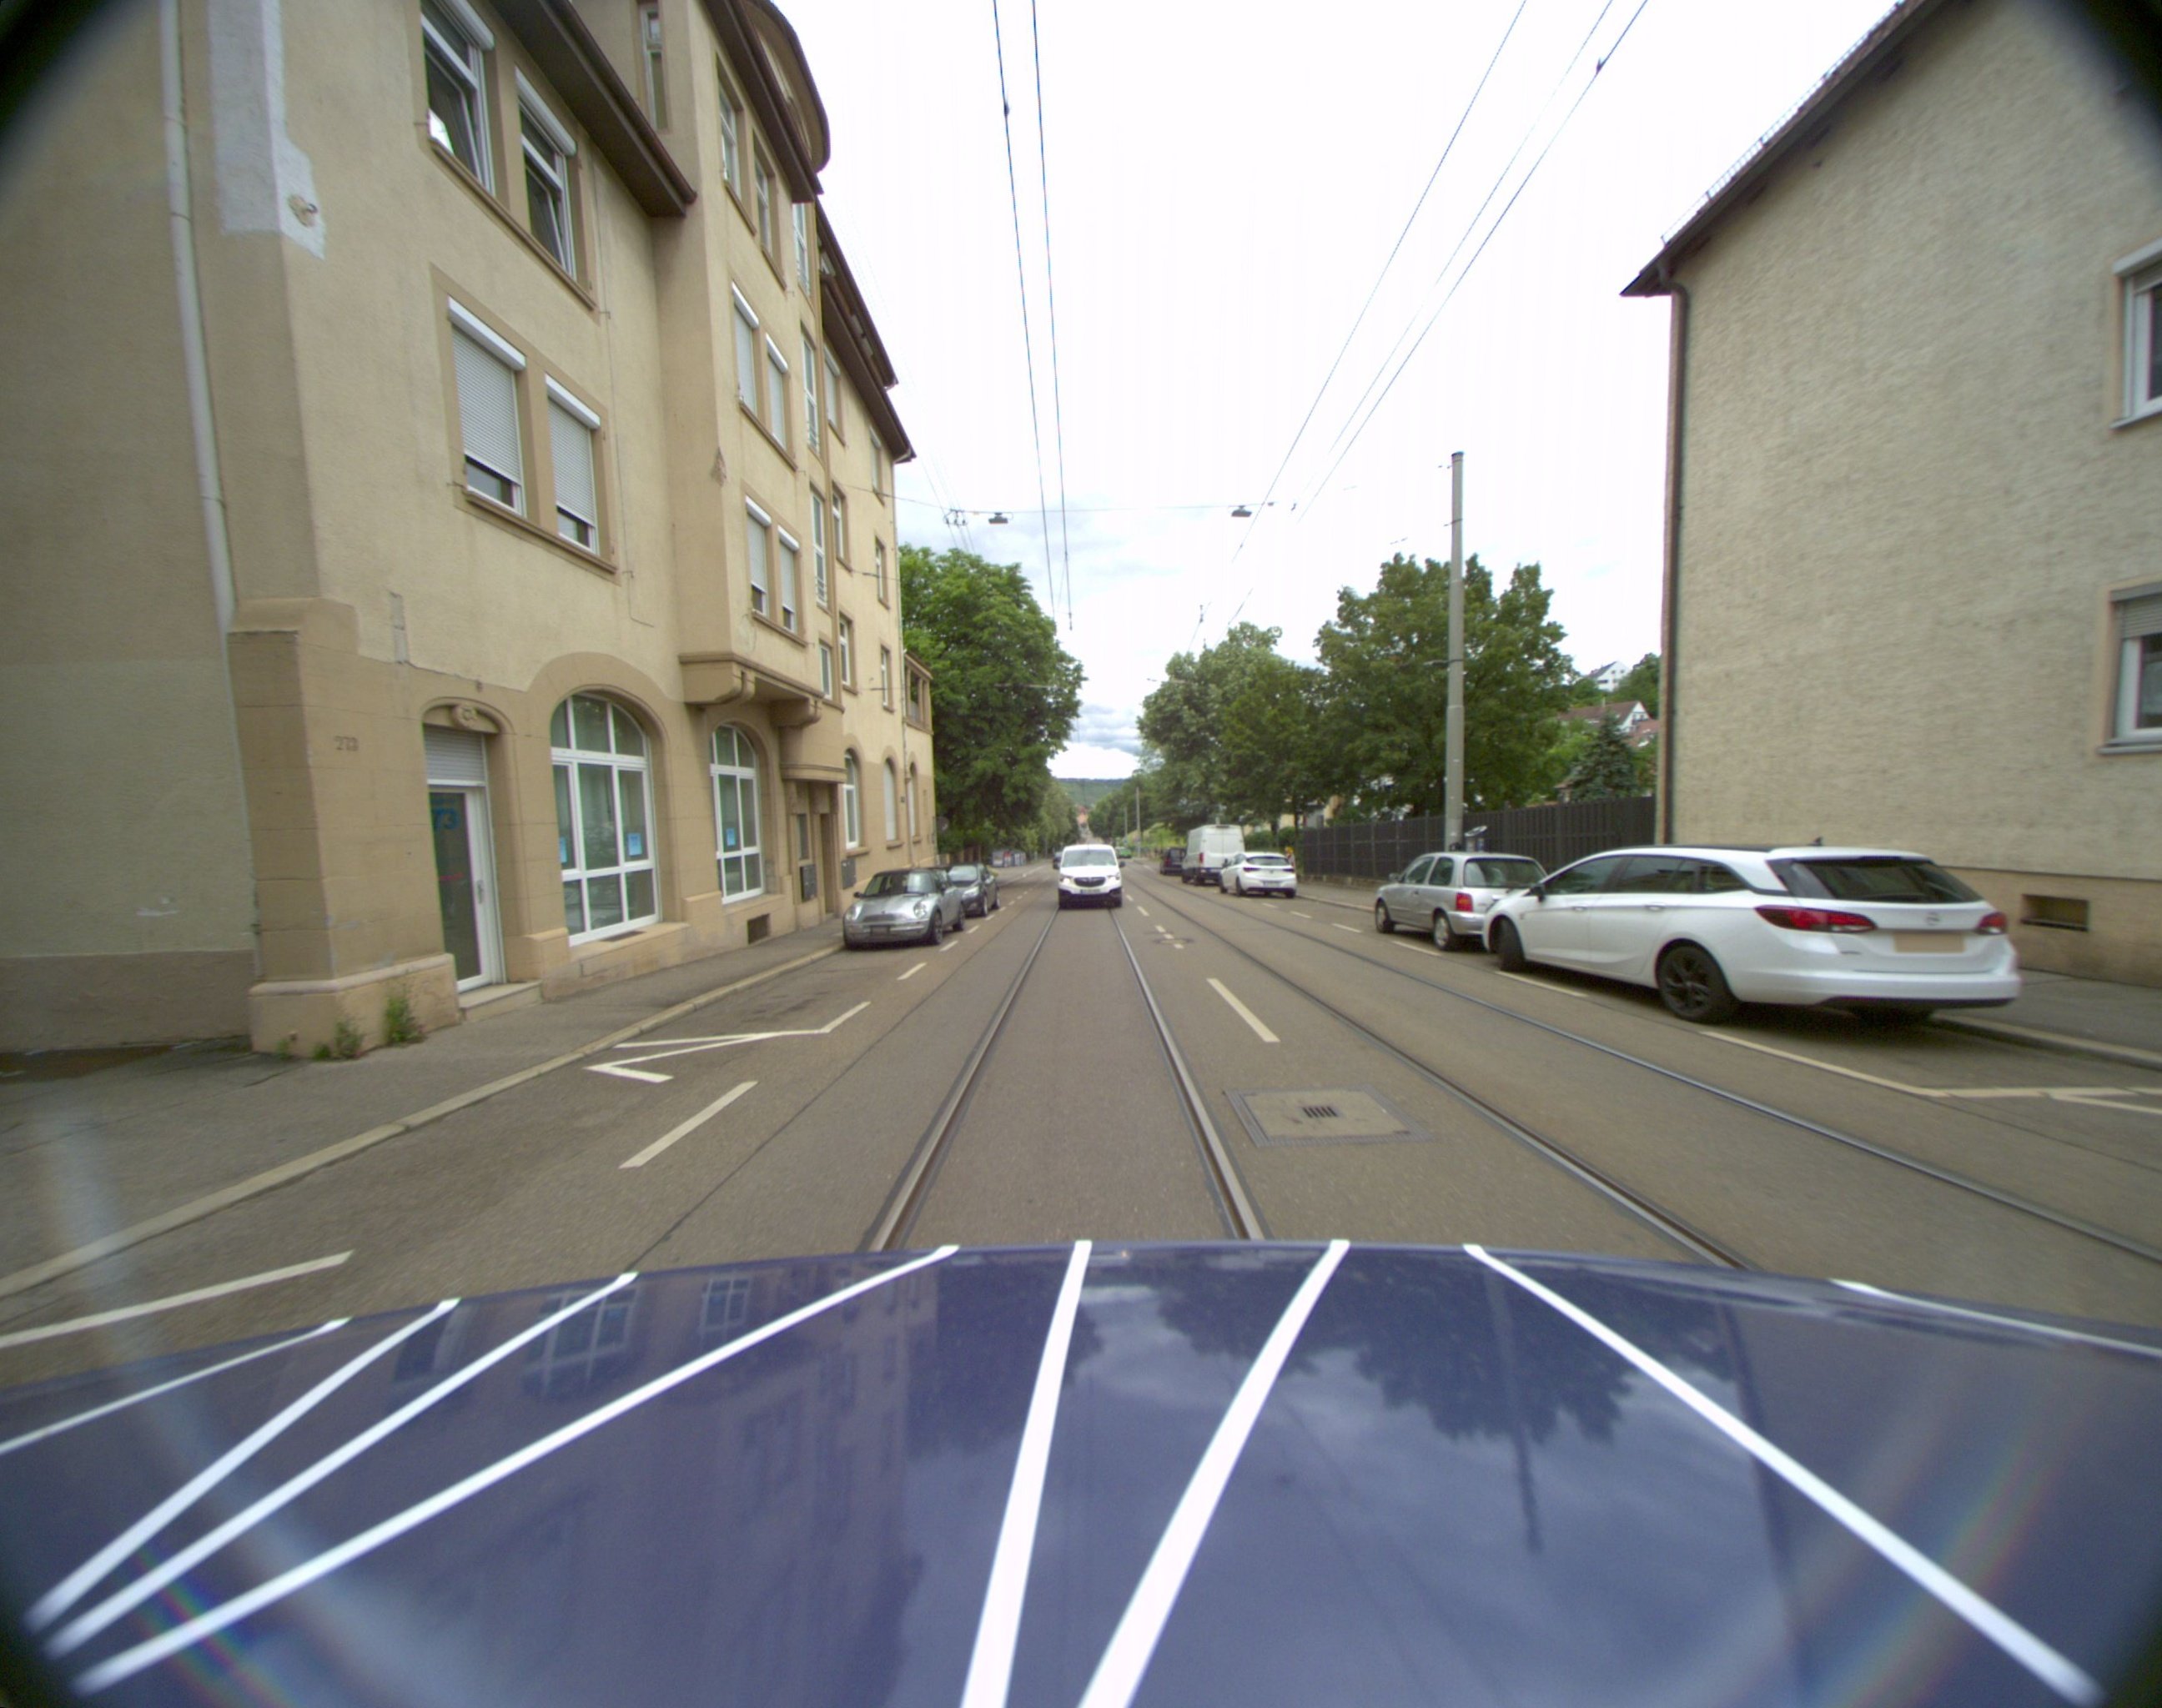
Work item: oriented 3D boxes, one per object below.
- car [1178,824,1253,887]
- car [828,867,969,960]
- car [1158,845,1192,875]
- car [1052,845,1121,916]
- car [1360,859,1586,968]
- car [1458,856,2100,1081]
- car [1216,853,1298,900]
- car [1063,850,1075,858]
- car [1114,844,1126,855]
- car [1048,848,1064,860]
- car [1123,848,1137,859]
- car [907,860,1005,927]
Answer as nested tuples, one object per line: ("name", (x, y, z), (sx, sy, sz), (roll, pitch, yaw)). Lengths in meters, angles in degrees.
("car", (6.015, 0.061, 34.802), (2.164, 2.591, 6.218), (1, 0, -1))
("car", (-3.370, 1.044, 14.758), (1.699, 1.396, 3.667), (-4, 0, 1))
("car", (6.095, 0.342, 49.554), (1.766, 1.765, 4.668), (2, 1, 2))
("car", (0.211, 0.684, 22.509), (1.759, 1.824, 4.447), (-2, 1, 2))
("car", (5.855, 0.789, 11.894), (1.604, 1.360, 3.807), (2, 0, 1))
("car", (5.771, 0.772, 7.338), (1.832, 1.420, 4.626), (2, 0, -2))
("car", (5.731, 0.685, 25.197), (1.723, 1.395, 4.313), (1, 0, 1))
("car", (-2.179, -0.041, 134.347), (1.822, 1.345, 3.940), (-4, 0, 2))
("car", (6.690, -0.775, 129.929), (1.901, 1.935, 4.290), (0, 1, 1))
("car", (-3.366, -0.062, 102.956), (1.863, 1.434, 4.388), (-5, 1, 1))
("car", (7.080, -0.086, 110.424), (1.856, 1.532, 3.948), (-2, 0, 1))
("car", (-3.271, 0.987, 20.685), (1.844, 1.395, 4.166), (-4, 1, 1))
